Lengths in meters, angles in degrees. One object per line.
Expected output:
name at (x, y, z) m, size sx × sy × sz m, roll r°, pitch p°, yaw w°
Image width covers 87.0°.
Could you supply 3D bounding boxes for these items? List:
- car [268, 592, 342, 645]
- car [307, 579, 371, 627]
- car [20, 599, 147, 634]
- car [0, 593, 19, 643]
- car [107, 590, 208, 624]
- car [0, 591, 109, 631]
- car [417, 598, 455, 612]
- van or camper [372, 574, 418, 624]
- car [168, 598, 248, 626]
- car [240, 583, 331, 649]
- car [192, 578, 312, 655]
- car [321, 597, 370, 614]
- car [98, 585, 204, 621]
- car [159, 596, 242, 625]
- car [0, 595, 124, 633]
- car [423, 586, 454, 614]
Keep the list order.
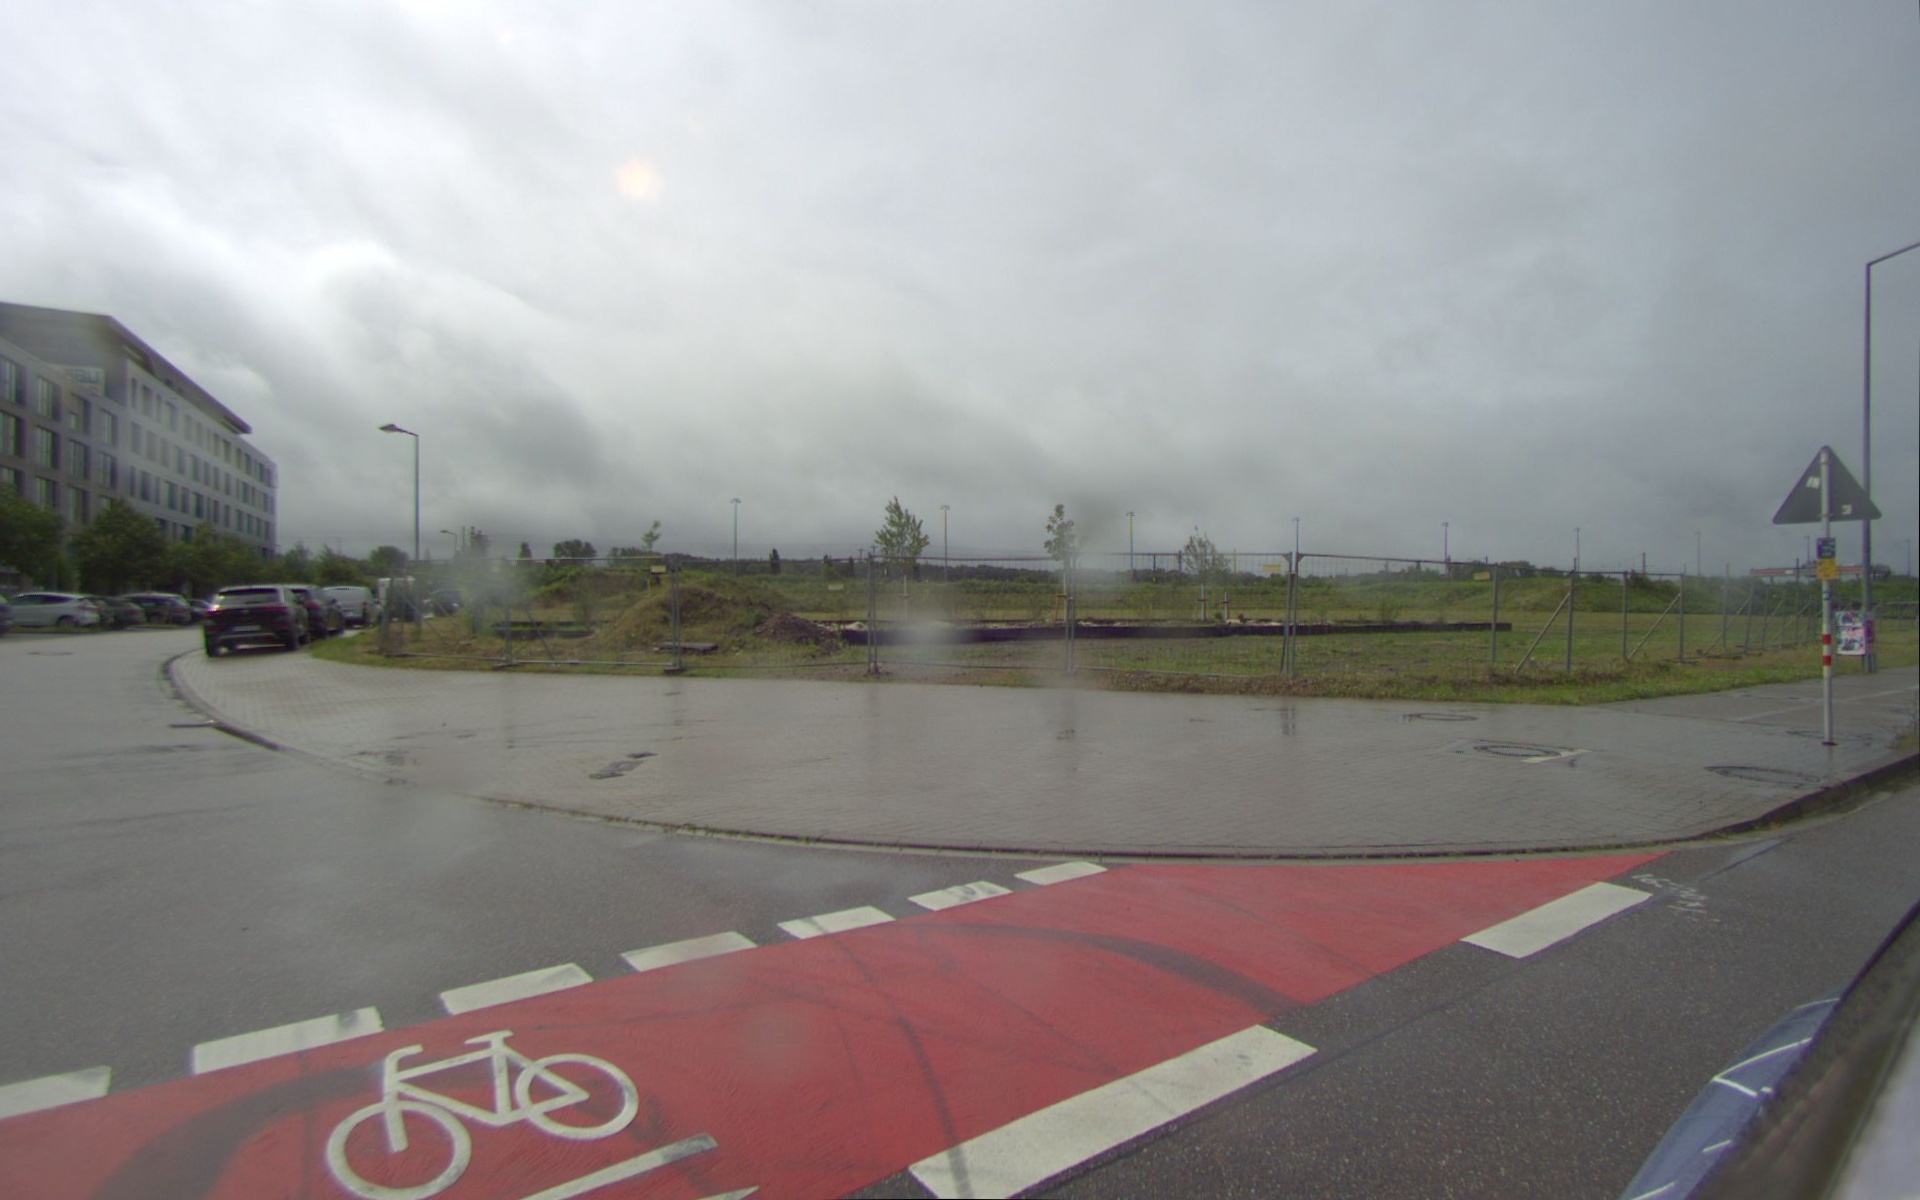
car at (-22.814, 0.684, 35.382) m, size 1.960 × 1.663 × 4.002 m, roll 0°, pitch -4°, yaw -30°
car at (-27.868, 0.188, 45.555) m, size 1.959 × 1.796 × 4.341 m, roll 0°, pitch -5°, yaw -25°
car at (-37.410, 0.706, 43.307) m, size 3.764 × 1.414 × 1.787 m, roll 0°, pitch -4°, yaw -28°
car at (-32.451, 0.576, 31.858) m, size 3.764 × 1.548 × 1.787 m, roll 0°, pitch -4°, yaw -28°
car at (-41.539, 0.356, 52.492) m, size 3.764 × 1.637 × 1.787 m, roll 0°, pitch -4°, yaw -28°
car at (-35.262, 0.434, 38.781) m, size 3.730 × 1.414 × 1.770 m, roll 0°, pitch -4°, yaw -28°
car at (-65.038, 0.638, 125.632) m, size 3.922 × 1.750 × 2.001 m, roll 0°, pitch 0°, yaw -33°
van or camper at (-40.726, -0.002, 73.039) m, size 2.477 × 3.244 × 6.807 m, roll 0°, pitch -3°, yaw -26°
car at (-46.740, 0.765, 62.963) m, size 3.764 × 1.637 × 1.550 m, roll 0°, pitch -4°, yaw -28°
car at (-19.831, 0.516, 29.925) m, size 1.960 × 1.751 × 4.002 m, roll 0°, pitch -4°, yaw -30°
car at (-16.955, 0.352, 24.430) m, size 1.961 × 1.638 × 4.004 m, roll -3°, pitch 1°, yaw -30°
car at (-65.583, 0.615, 108.053) m, size 4.278 × 1.710 × 1.802 m, roll 0°, pitch -4°, yaw -24°
car at (-39.656, 0.165, 49.710) m, size 3.764 × 1.637 × 1.787 m, roll 0°, pitch -4°, yaw -28°
car at (-45.536, 0.622, 60.789) m, size 3.764 × 1.637 × 1.550 m, roll 0°, pitch -4°, yaw -28°
car at (-36.282, 0.574, 40.811) m, size 3.704 × 1.414 × 1.645 m, roll -1°, pitch -2°, yaw -27°
car at (-44.107, 0.016, 85.629) m, size 1.958 × 2.040 × 4.818 m, roll 0°, pitch -3°, yaw -23°
